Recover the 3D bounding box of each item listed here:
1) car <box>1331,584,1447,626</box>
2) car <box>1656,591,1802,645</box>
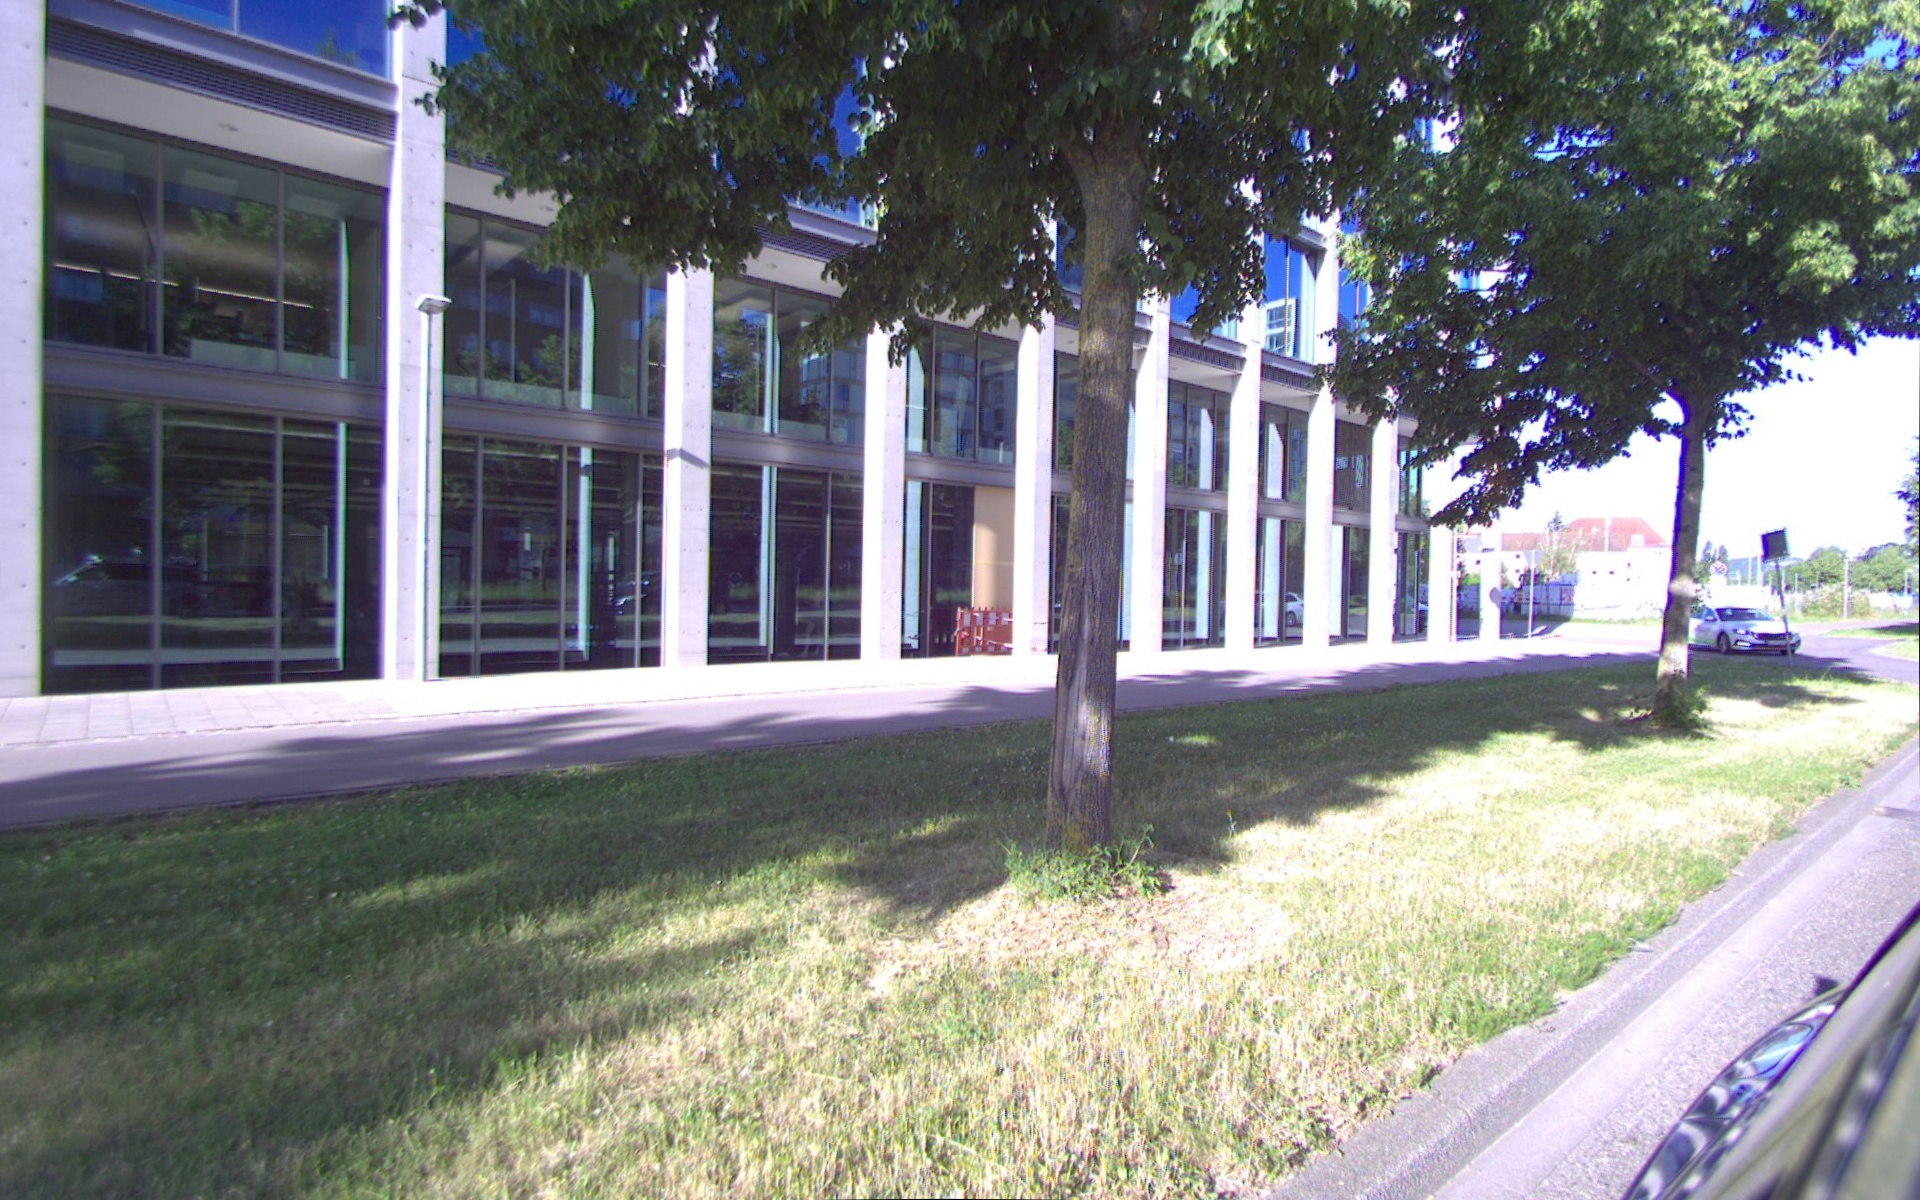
[{"bbox_3d":[17.756,0.162,42.000,1.963,1.598,3.998,0,1,-38],"label":"car"},{"bbox_3d":[23.370,0.488,30.972,1.777,1.465,4.552,1,1,13],"label":"car"}]
